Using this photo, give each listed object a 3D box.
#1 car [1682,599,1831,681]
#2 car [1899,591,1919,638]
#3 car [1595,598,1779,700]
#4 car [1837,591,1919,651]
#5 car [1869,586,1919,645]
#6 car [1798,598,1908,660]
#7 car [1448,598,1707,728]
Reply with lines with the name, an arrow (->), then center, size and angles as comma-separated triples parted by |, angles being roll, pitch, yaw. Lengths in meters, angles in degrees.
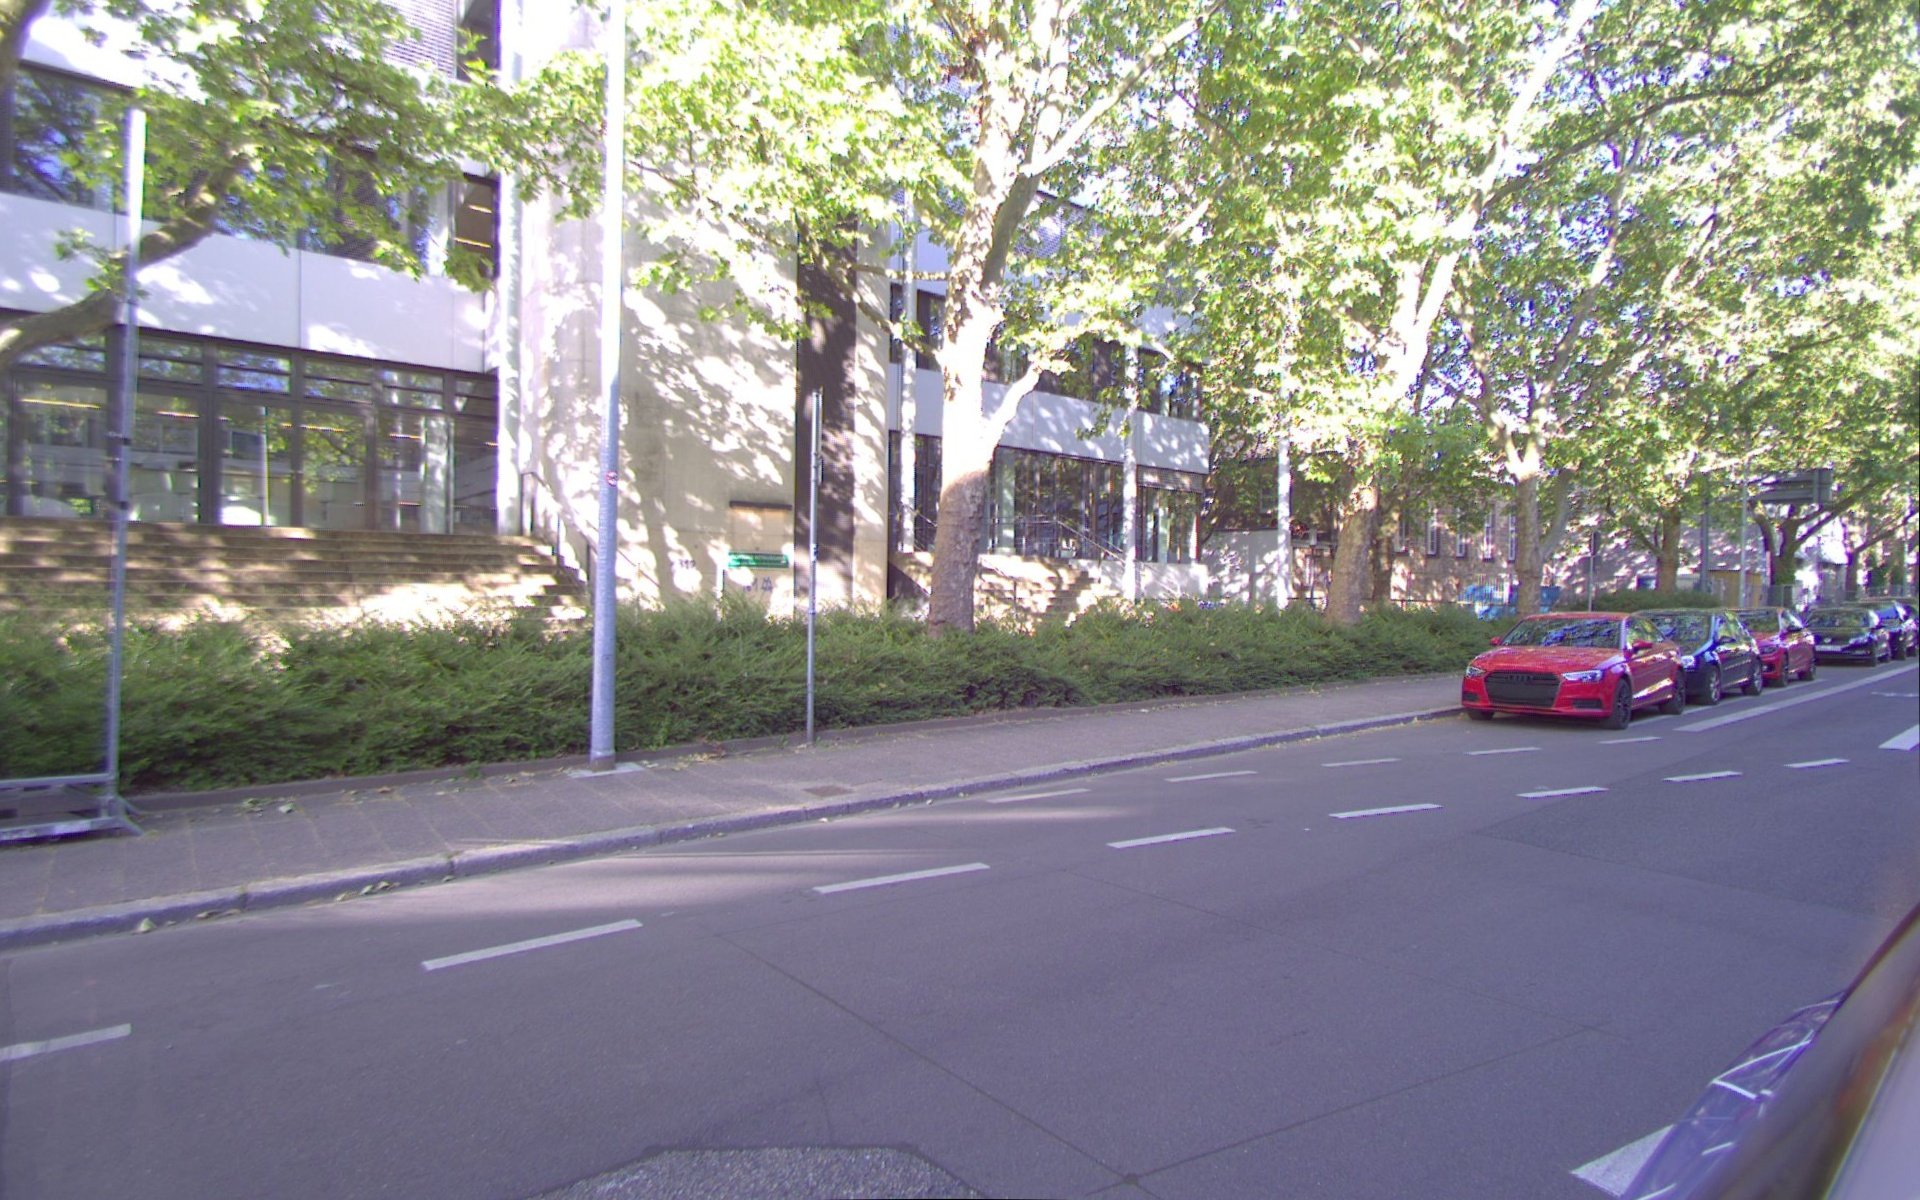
car -> 15.753, 0.721, 19.964 | 3.674, 1.483, 1.634 | 0, -1, -41
car -> 35.967, 0.527, 37.261 | 3.777, 1.675, 1.634 | 0, -1, -41
car -> 11.960, 0.715, 16.572 | 3.674, 1.483, 1.634 | 0, -1, -41
car -> 26.585, 0.581, 29.018 | 3.777, 1.607, 1.634 | 0, -1, -41
car -> 30.959, 0.472, 32.882 | 3.777, 1.828, 1.634 | 0, -1, -41
car -> 23.017, 0.694, 26.041 | 3.674, 1.483, 1.634 | 0, -1, -41
car -> 8.324, 0.719, 13.510 | 4.053, 1.483, 1.802 | 0, -1, -41
